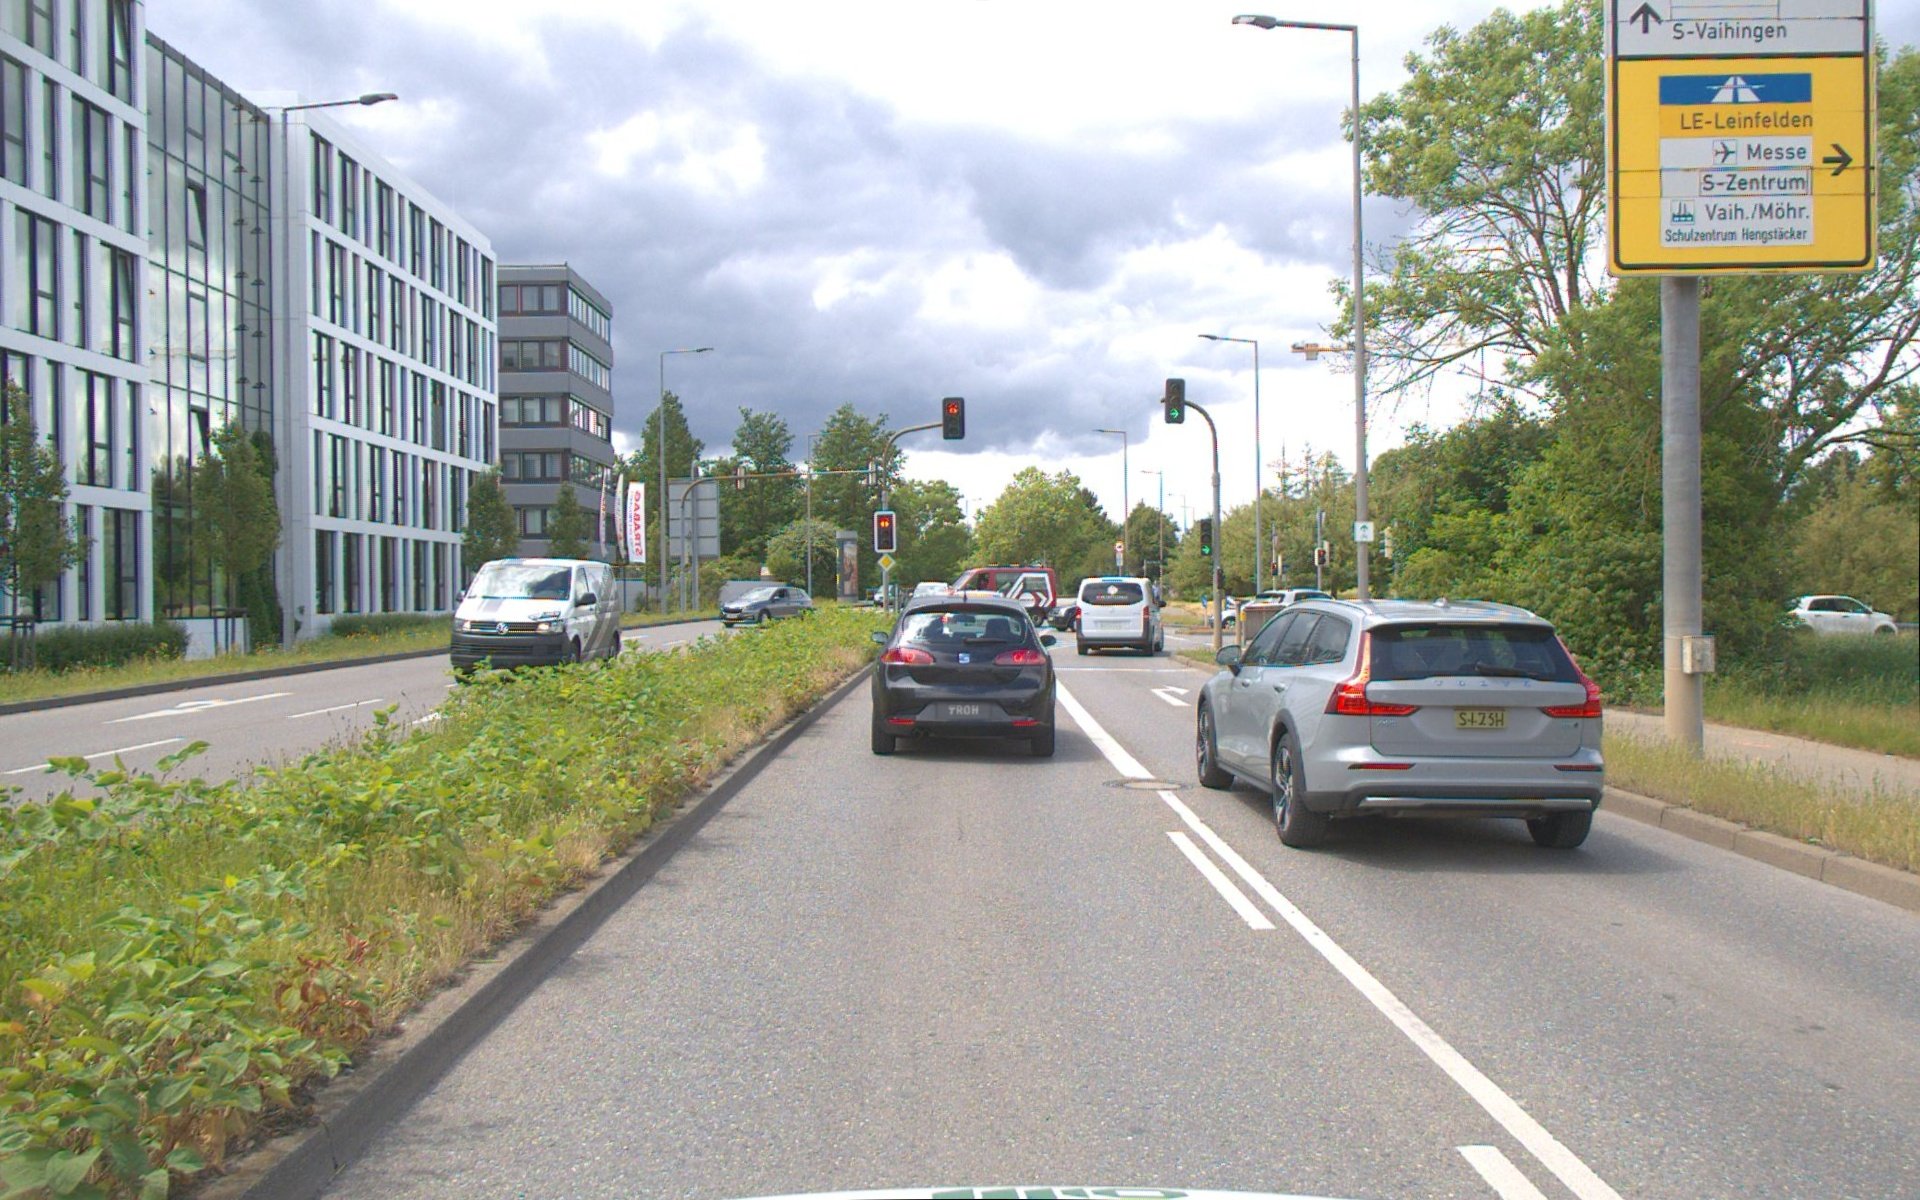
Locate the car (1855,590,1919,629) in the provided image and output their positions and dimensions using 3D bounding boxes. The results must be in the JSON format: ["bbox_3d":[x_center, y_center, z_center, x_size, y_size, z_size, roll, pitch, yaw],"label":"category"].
[{"bbox_3d":[33.990,0.329,58.920,3.310,1.369,1.689,0,0,1],"label":"car"}]

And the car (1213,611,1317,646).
[{"bbox_3d":[12.471,1.153,67.789,3.905,1.378,2.000,0,1,-1],"label":"car"}]

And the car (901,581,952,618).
[{"bbox_3d":[-1.482,-0.052,74.407,1.952,1.624,4.002,0,1,4],"label":"car"}]

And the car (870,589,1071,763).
[{"bbox_3d":[0.109,0.649,16.228,1.737,1.477,3.582,1,1,0],"label":"car"}]

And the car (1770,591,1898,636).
[{"bbox_3d":[27.462,0.411,52.009,3.323,1.369,1.683,0,0,-15],"label":"car"}]

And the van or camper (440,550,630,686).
[{"bbox_3d":[-6.906,0.265,27.436,1.953,2.049,4.815,0,0,-1],"label":"van or camper"}]

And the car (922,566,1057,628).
[{"bbox_3d":[1.182,-0.139,66.742,5.133,2.454,1.994,0,0,-13],"label":"car"}]

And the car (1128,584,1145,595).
[{"bbox_3d":[22.426,-1.332,210.148,1.951,1.375,4.003,0,1,9],"label":"car"}]

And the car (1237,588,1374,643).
[{"bbox_3d":[10.731,0.457,51.303,3.950,1.624,1.977,-1,0,-33],"label":"car"}]

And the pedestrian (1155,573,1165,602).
[{"bbox_3d":[12.098,-0.772,99.956,0.547,1.756,0.588,1,0,1],"label":"pedestrian"}]

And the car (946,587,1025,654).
[{"bbox_3d":[0.568,0.447,39.979,1.737,1.517,3.581,-1,0,-2],"label":"car"}]

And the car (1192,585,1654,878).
[{"bbox_3d":[2.812,0.688,11.138,1.825,1.545,4.446,-1,1,0],"label":"car"}]

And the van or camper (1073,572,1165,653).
[{"bbox_3d":[4.023,0.275,41.130,1.951,1.892,4.948,0,0,9],"label":"van or camper"}]

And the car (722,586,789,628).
[{"bbox_3d":[-7.319,0.227,59.543,1.893,1.422,4.000,0,1,0],"label":"car"}]
